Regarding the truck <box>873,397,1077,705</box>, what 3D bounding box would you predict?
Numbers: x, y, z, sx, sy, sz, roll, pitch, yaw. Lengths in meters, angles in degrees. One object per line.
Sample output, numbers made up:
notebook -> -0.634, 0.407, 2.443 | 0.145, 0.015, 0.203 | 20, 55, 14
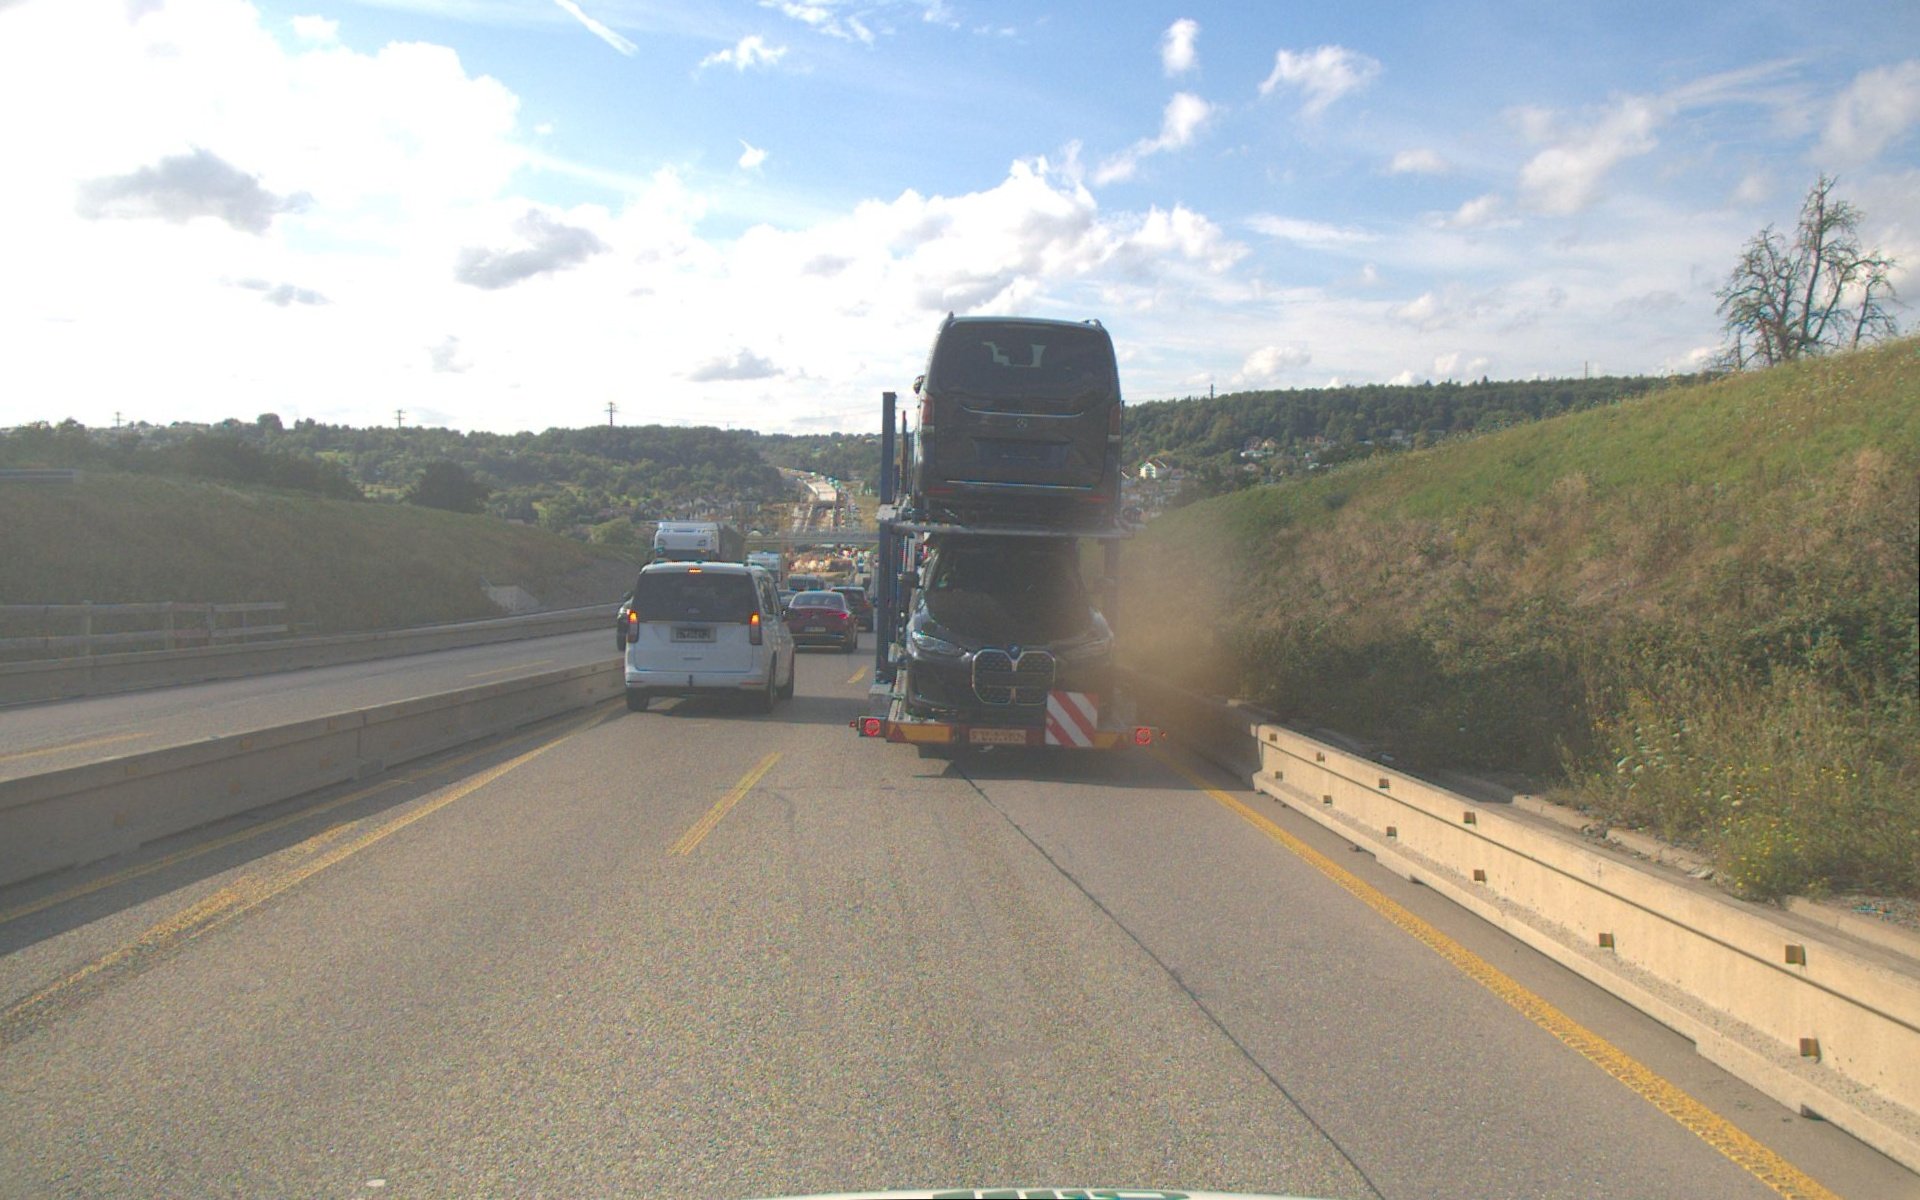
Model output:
truck -> 0.164, -0.650, 24.602 | 2.623, 3.990, 6.026 | 1, 0, -1

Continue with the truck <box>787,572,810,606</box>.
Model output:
truck -> -20.863, -1.421, 214.214 | 2.586, 4.171, 10.811 | 1, 0, -4

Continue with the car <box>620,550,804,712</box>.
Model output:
car -> -3.131, 0.341, 21.733 | 1.786, 1.855, 4.455 | 2, 1, -1

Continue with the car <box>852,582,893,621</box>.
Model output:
car -> -3.935, 0.051, 73.919 | 1.760, 1.624, 4.739 | 1, 0, -4

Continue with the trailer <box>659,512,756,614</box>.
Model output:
trailer -> -10.910, -1.507, 72.790 | 2.562, 4.023, 13.869 | 1, 0, -2

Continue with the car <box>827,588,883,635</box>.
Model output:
car -> -3.846, 0.388, 61.471 | 1.954, 1.653, 4.748 | -1, 1, -3

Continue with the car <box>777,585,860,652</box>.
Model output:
car -> -3.507, 0.419, 41.708 | 1.786, 1.518, 4.683 | 2, 1, -2

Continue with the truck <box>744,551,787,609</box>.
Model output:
truck -> -14.687, -1.506, 125.579 | 2.586, 4.171, 10.811 | 1, 0, -3

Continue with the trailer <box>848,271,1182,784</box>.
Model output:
trailer -> 0.314, -0.611, 19.025 | 2.653, 4.099, 11.416 | 1, 0, -1

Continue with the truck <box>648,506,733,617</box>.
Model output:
truck -> -10.700, -1.482, 66.117 | 2.562, 4.226, 5.779 | 1, 0, -2

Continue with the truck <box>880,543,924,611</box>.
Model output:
truck -> -4.292, -1.649, 120.506 | 2.807, 4.650, 11.649 | 1, 0, -4

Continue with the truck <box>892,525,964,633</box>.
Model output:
truck -> -1.611, -0.953, 77.410 | 2.807, 4.650, 11.649 | 1, 0, -4

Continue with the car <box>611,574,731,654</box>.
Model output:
car -> -6.971, 0.273, 40.472 | 1.908, 1.777, 5.579 | 1, 1, 0

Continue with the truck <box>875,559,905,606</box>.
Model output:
truck -> -7.176, -1.750, 168.594 | 2.807, 4.650, 11.649 | 1, 0, -4
